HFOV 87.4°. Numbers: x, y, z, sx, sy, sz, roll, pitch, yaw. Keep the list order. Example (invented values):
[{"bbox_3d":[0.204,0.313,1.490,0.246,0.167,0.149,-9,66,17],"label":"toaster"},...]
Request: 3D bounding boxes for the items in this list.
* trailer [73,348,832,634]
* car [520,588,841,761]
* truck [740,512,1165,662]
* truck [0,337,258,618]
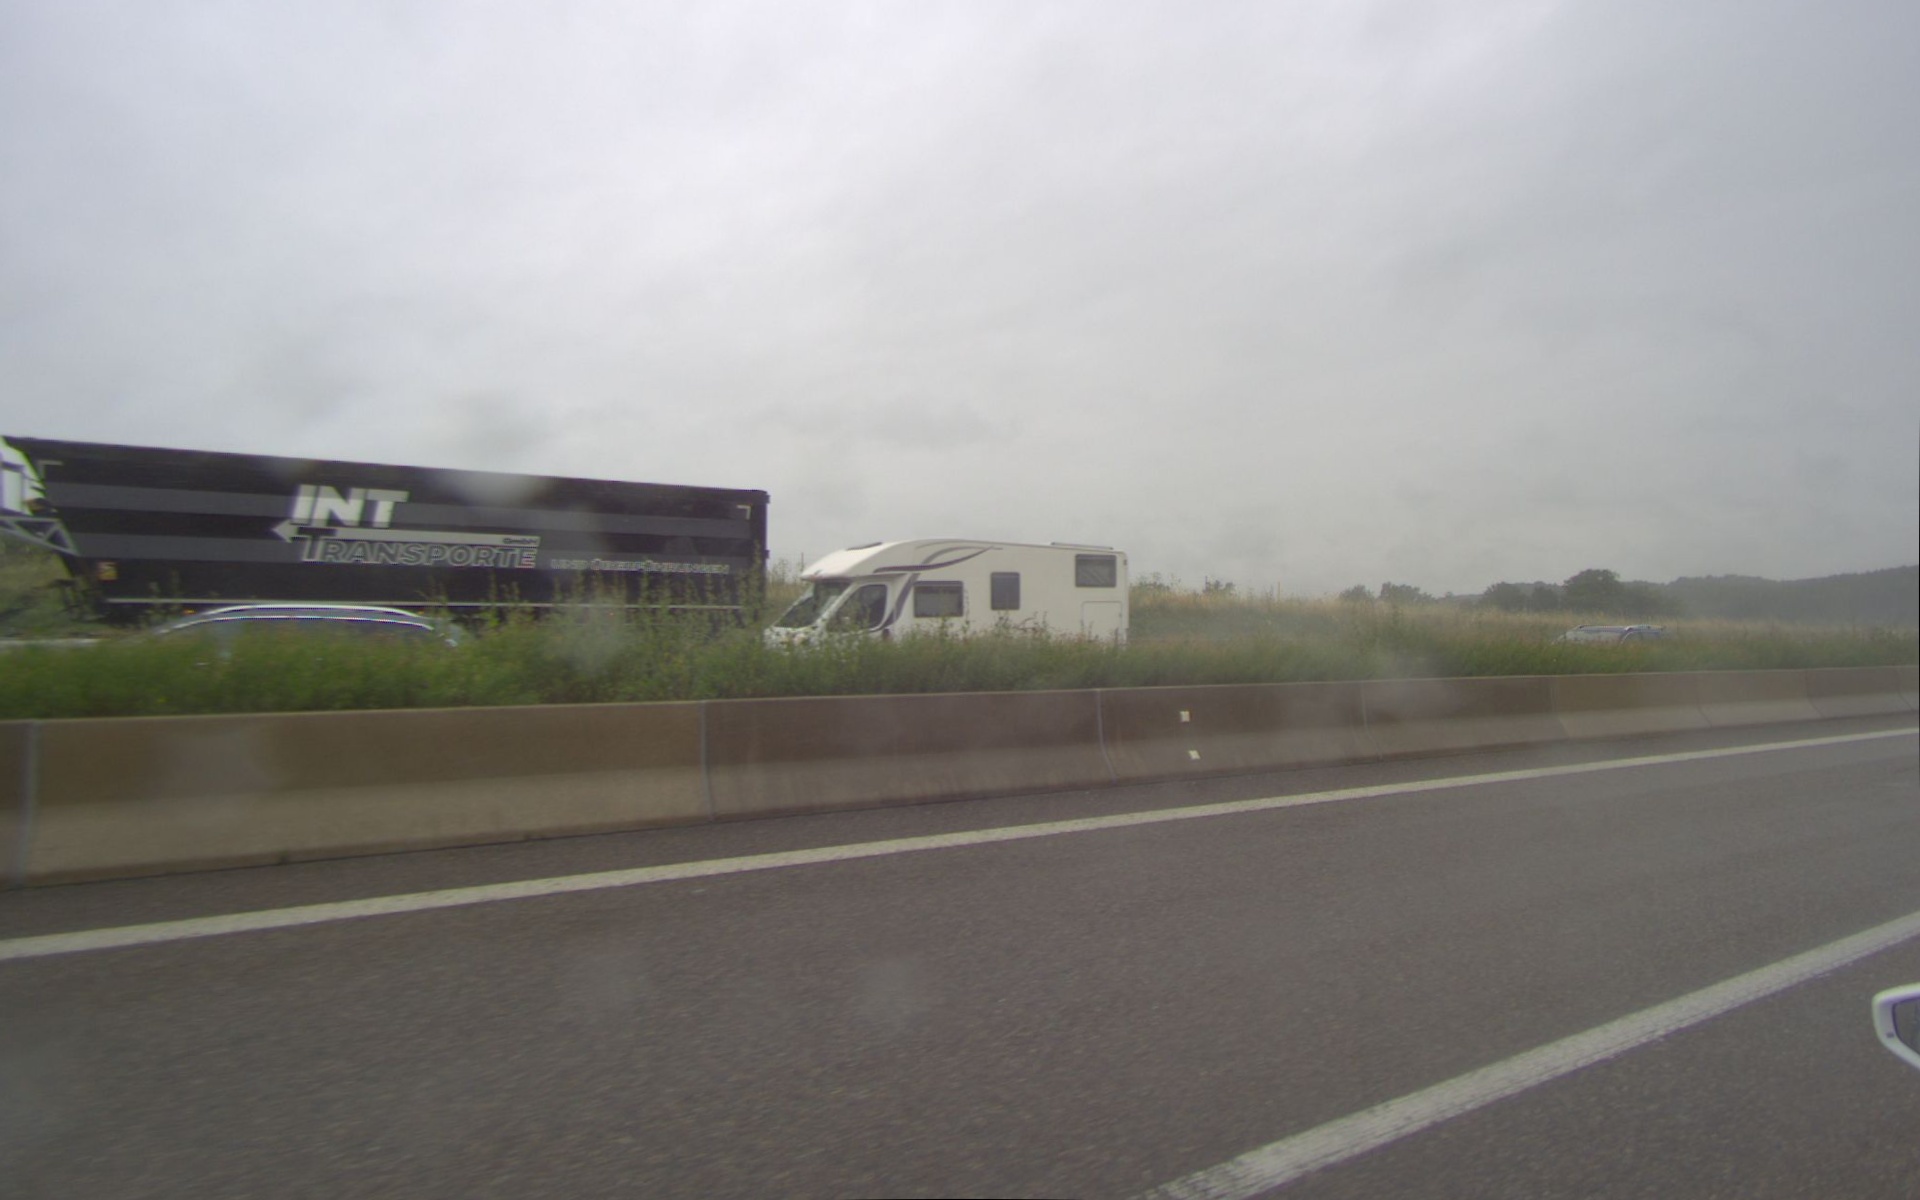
[{"bbox_3d":[-7.965,-1.424,17.714,11.014,3.668,2.752,3,-1,-29],"label":"trailer"},{"bbox_3d":[-3.203,0.787,11.624,3.314,1.745,1.480,1,-1,-30],"label":"car"},{"bbox_3d":[0.031,-0.081,17.998,7.339,2.183,2.462,3,-1,-30],"label":"truck"},{"bbox_3d":[-13.765,-1.690,14.431,5.673,3.655,2.766,3,-1,-30],"label":"truck"}]
